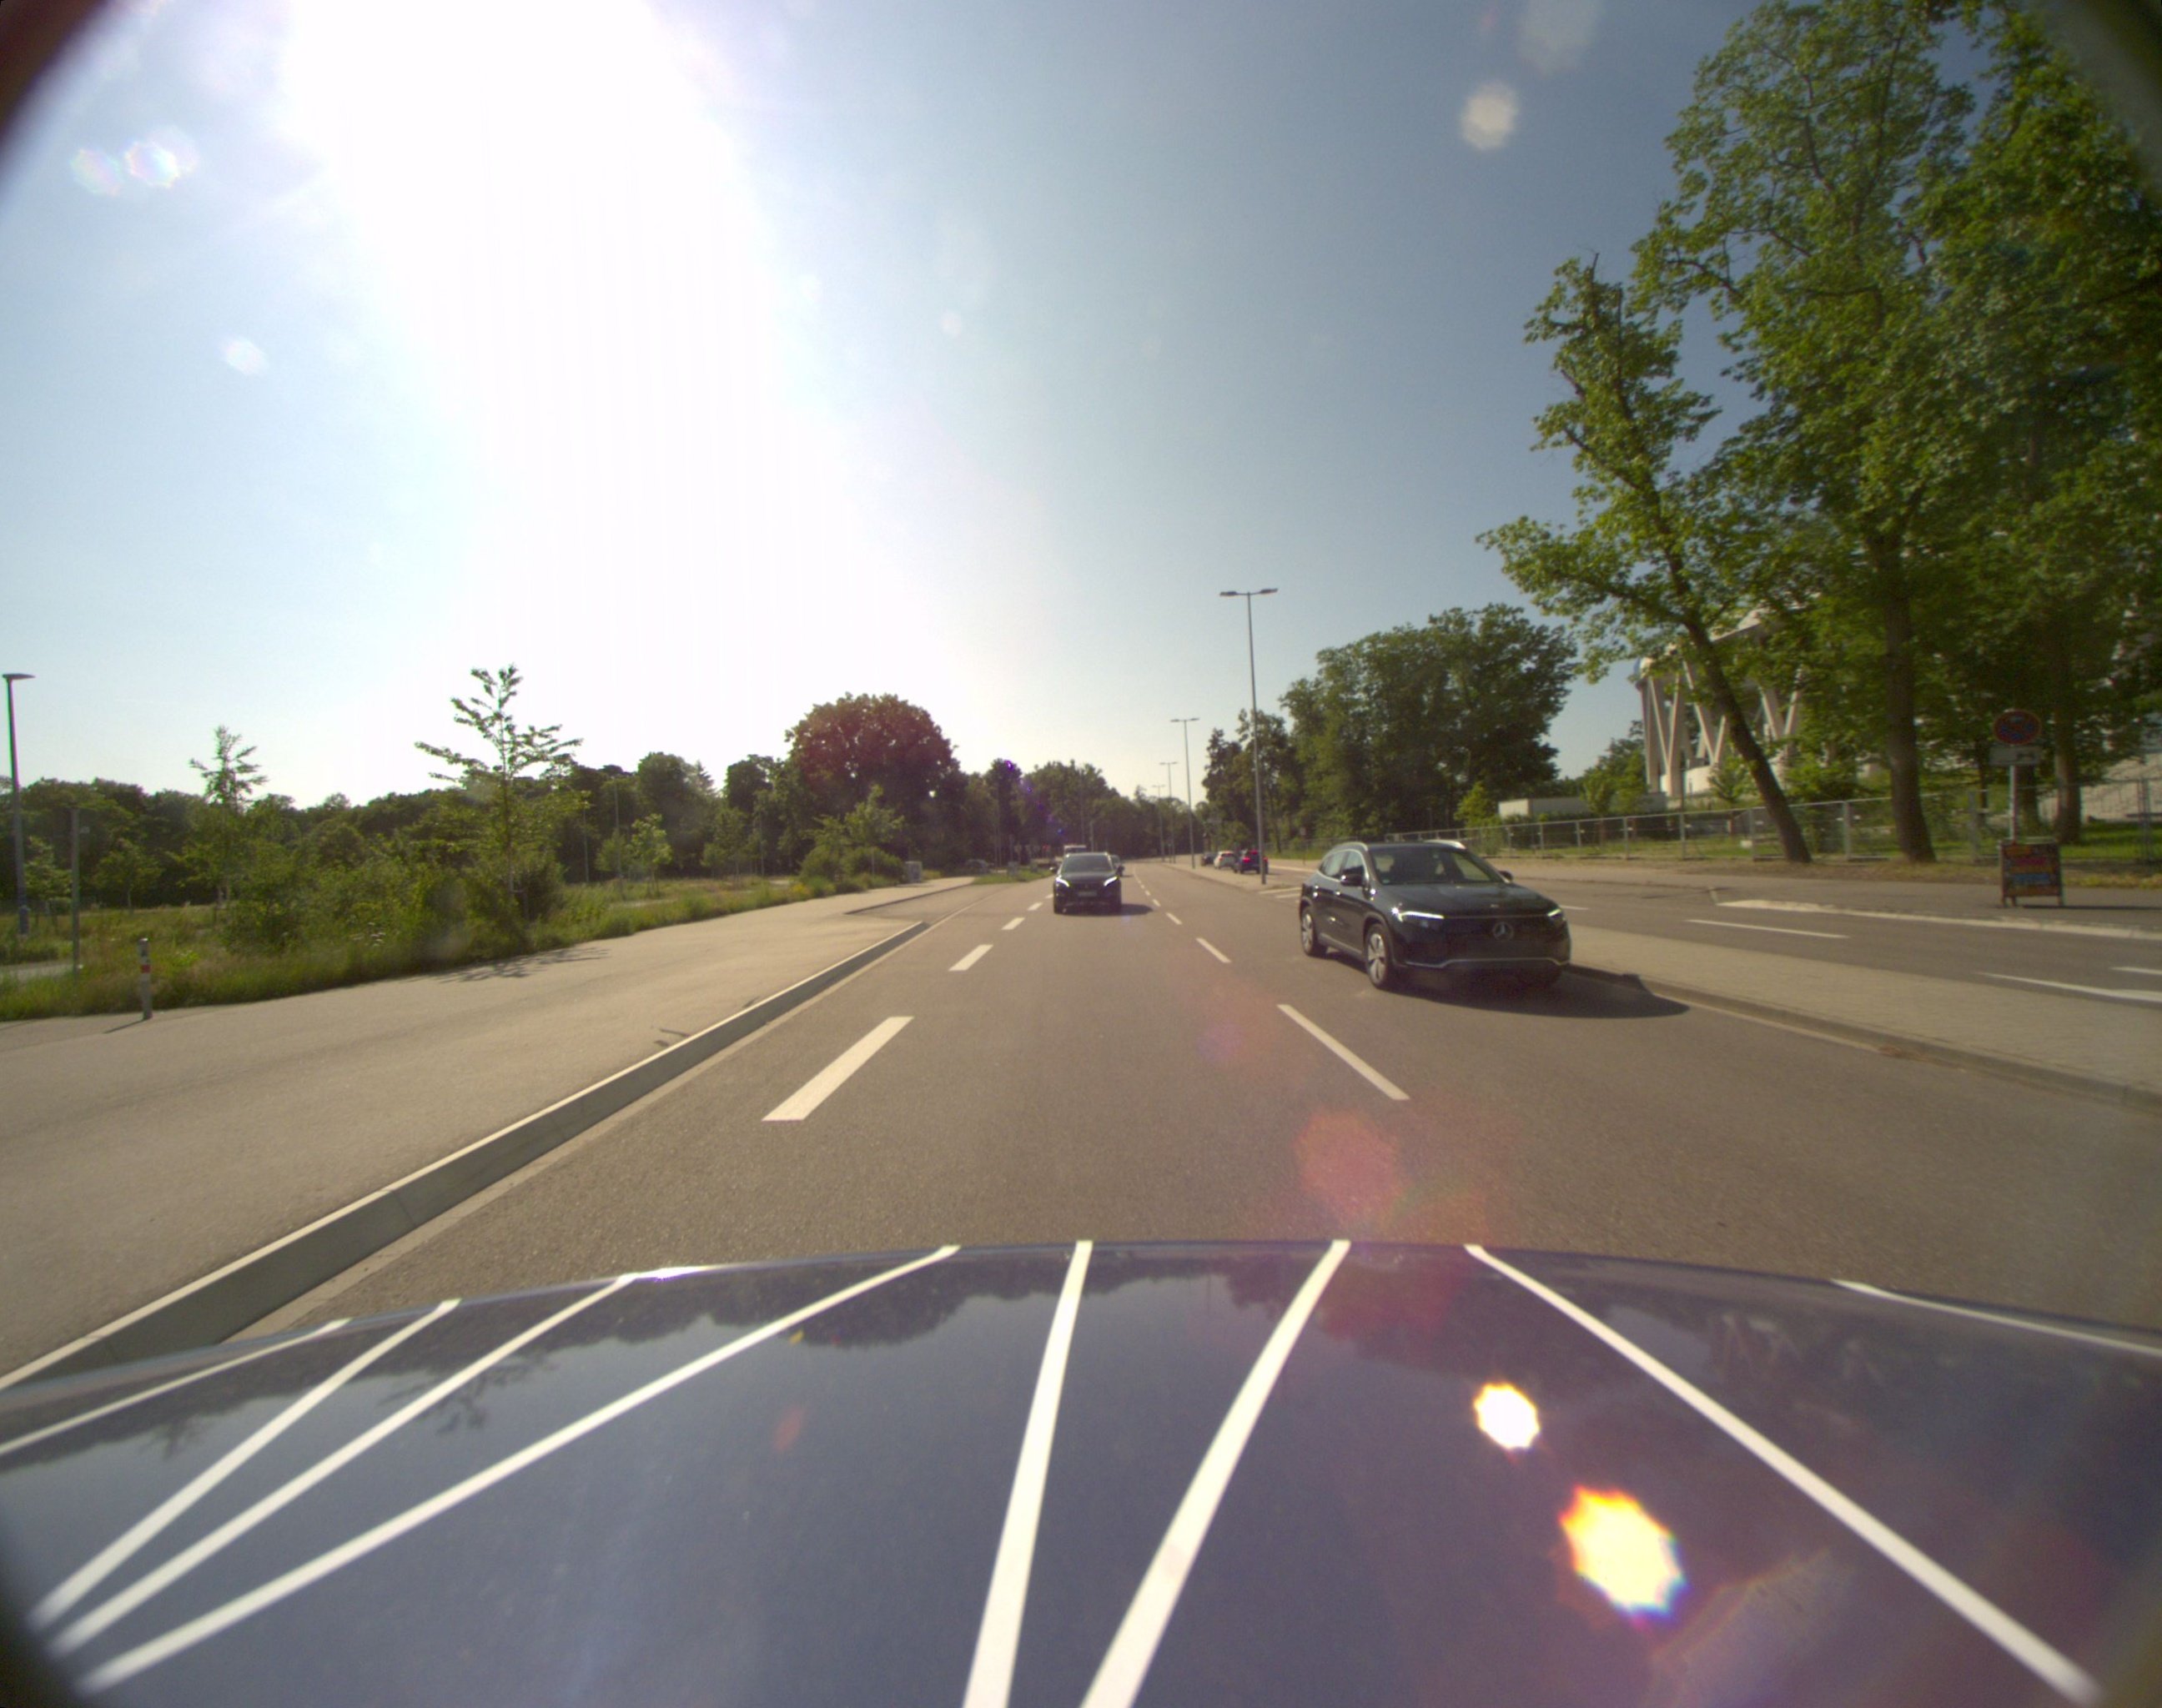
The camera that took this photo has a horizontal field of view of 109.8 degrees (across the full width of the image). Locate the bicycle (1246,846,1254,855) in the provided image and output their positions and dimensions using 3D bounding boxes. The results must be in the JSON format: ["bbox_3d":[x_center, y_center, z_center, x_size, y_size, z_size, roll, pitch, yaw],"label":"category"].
[{"bbox_3d":[22.886,-0.514,102.807,0.661,1.129,1.879,-4,0,3],"label":"bicycle"}]

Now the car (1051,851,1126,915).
[{"bbox_3d":[0.318,0.739,21.673,1.702,1.581,4.321,-3,0,6],"label":"car"}]

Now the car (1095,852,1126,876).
[{"bbox_3d":[2.091,0.660,52.851,1.932,1.499,4.001,-3,0,5],"label":"car"}]

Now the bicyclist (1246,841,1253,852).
[{"bbox_3d":[22.833,-0.994,102.732,0.661,1.459,1.057,-4,0,3],"label":"bicyclist"}]

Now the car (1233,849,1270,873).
[{"bbox_3d":[11.177,0.445,50.130,1.757,1.477,3.948,-1,0,3],"label":"car"}]

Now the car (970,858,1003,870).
[{"bbox_3d":[-12.298,1.301,98.954,3.989,1.475,1.850,-3,0,33],"label":"car"}]

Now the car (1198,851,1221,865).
[{"bbox_3d":[13.242,0.379,78.332,1.815,1.380,4.162,0,0,3],"label":"car"}]

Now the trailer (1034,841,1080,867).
[{"bbox_3d":[-2.746,0.086,86.005,2.706,2.672,6.876,-3,0,-24],"label":"trailer"}]

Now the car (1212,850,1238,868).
[{"bbox_3d":[12.091,0.380,64.030,1.627,1.458,3.801,-1,0,2],"label":"car"}]

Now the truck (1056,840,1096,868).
[{"bbox_3d":[-0.605,0.048,80.084,2.681,2.702,6.196,-3,0,-14],"label":"truck"}]

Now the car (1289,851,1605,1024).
[{"bbox_3d":[3.971,0.767,9.164,1.809,1.587,4.273,-1,0,1],"label":"car"}]
